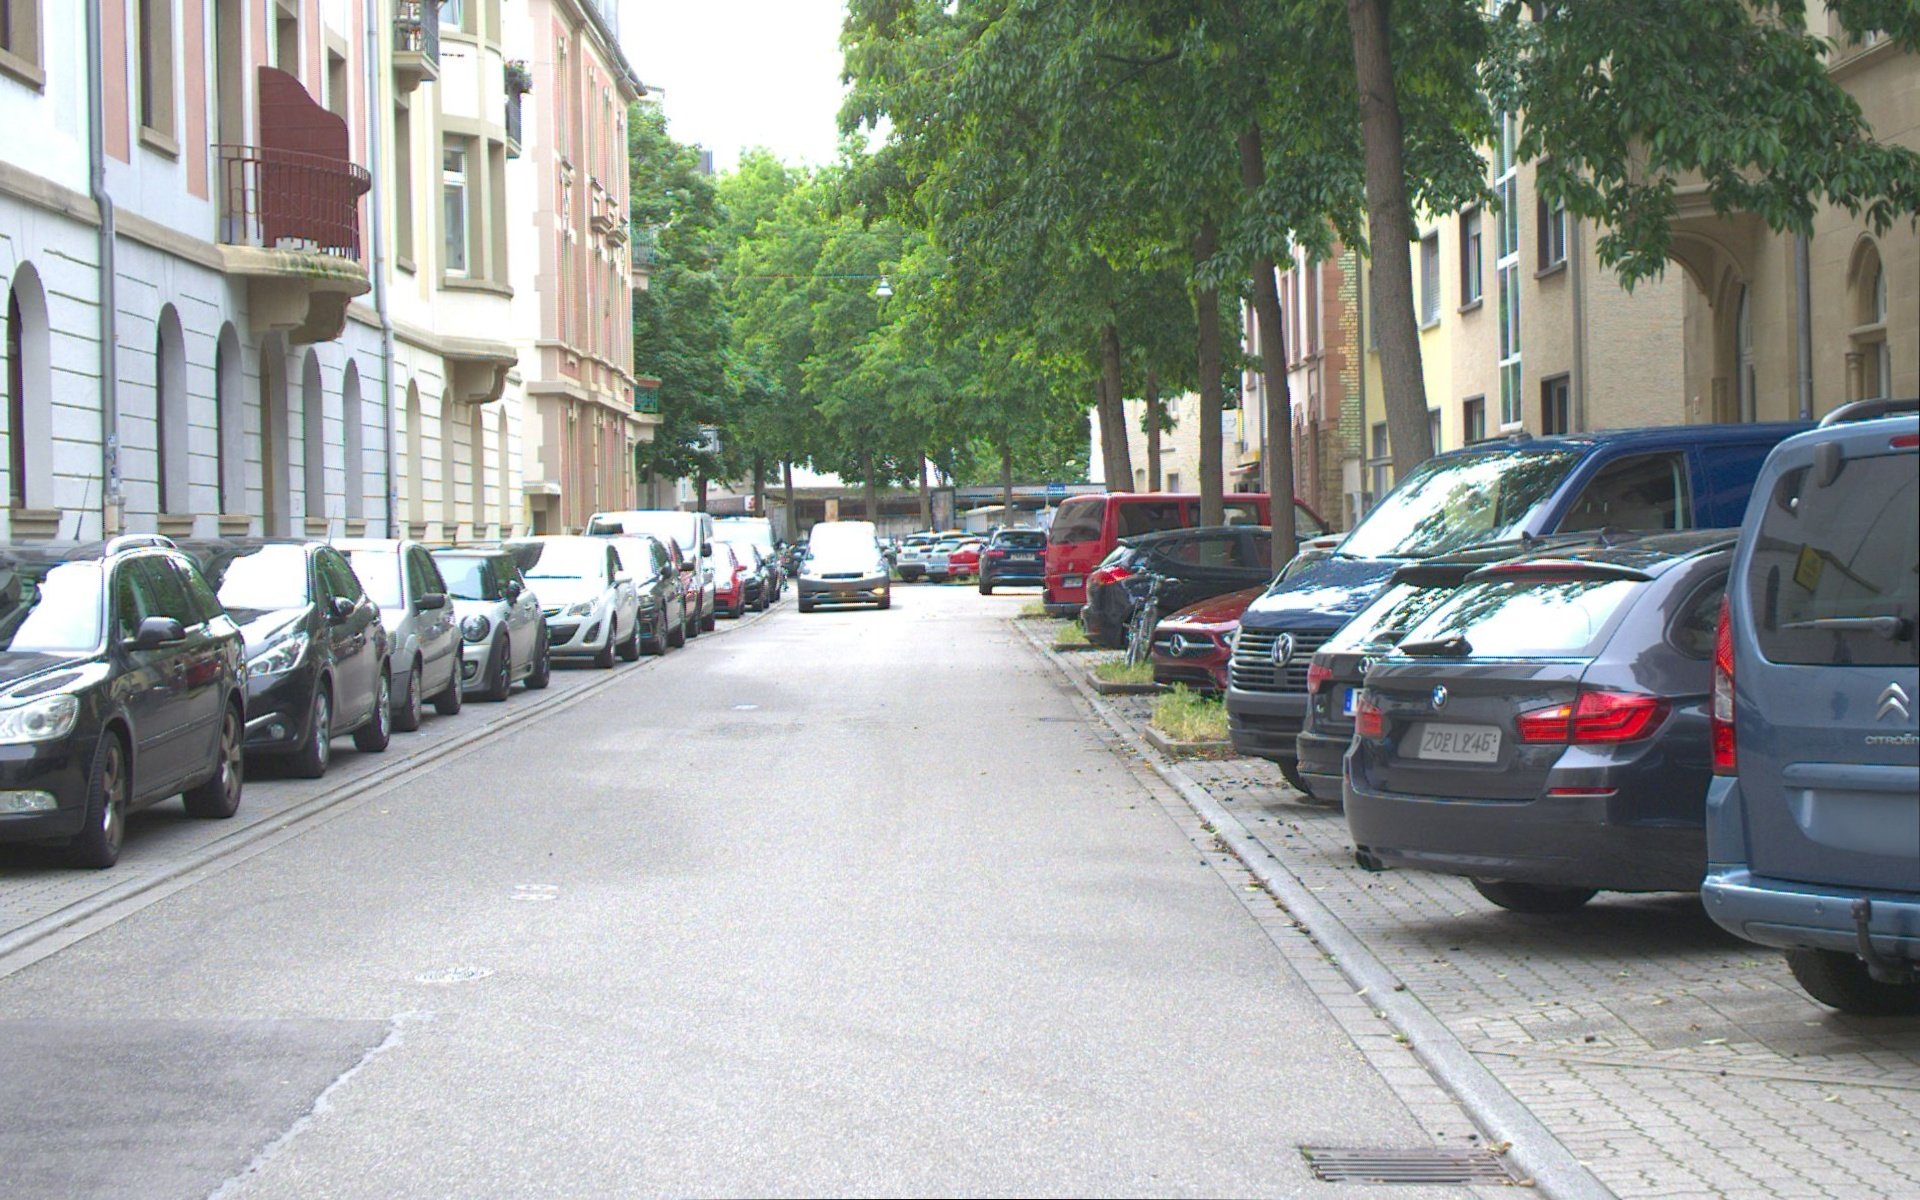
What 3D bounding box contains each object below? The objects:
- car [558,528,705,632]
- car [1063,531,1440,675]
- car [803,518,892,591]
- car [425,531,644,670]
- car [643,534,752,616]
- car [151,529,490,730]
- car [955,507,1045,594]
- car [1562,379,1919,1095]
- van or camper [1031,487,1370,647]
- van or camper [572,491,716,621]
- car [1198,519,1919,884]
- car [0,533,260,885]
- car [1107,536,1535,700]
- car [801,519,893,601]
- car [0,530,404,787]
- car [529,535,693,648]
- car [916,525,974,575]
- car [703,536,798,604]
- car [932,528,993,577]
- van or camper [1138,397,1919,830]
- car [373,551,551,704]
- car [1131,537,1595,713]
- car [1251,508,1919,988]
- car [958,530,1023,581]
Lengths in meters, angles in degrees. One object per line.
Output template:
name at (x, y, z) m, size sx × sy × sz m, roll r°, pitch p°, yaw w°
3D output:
car at (-4.795, -0.324, 50.583) m, size 1.786 × 1.439 × 3.888 m, roll 1°, pitch 1°, yaw 0°
car at (3.099, 0.021, 36.991) m, size 3.760 × 1.460 × 1.729 m, roll 1°, pitch 1°, yaw -5°
car at (-2.686, -1.105, 82.846) m, size 1.908 × 1.672 × 4.000 m, roll 1°, pitch 1°, yaw 1°
car at (-4.786, -0.039, 39.179) m, size 1.993 × 1.470 × 4.000 m, roll 1°, pitch 1°, yaw 0°
car at (-5.184, -0.518, 68.281) m, size 1.786 × 1.450 × 3.888 m, roll -4°, pitch 1°, yaw 0°
car at (-4.942, 0.175, 27.099) m, size 1.947 × 1.398 × 4.000 m, roll 2°, pitch 1°, yaw -1°
car at (0.950, -1.224, 83.529) m, size 1.993 × 2.007 × 4.000 m, roll 2°, pitch 1°, yaw -1°
car at (4.118, 0.250, 10.255) m, size 4.172 × 1.863 × 2.000 m, roll -4°, pitch 1°, yaw -30°
van or camper at (3.272, -0.442, 46.631) m, size 4.146 × 2.078 × 1.953 m, roll 0°, pitch 1°, yaw -28°
van or camper at (-4.999, -0.719, 54.861) m, size 1.881 × 1.961 × 4.408 m, roll 1°, pitch 1°, yaw 0°
car at (3.241, 0.388, 16.138) m, size 3.861 × 1.494 × 1.802 m, roll -2°, pitch 1°, yaw -29°
car at (-4.615, 0.420, 16.417) m, size 1.789 × 1.475 × 4.023 m, roll 0°, pitch 1°, yaw -1°
car at (3.401, 0.157, 32.793) m, size 3.760 × 1.460 × 1.729 m, roll 1°, pitch 1°, yaw -5°
car at (-2.326, -0.849, 71.632) m, size 1.821 × 1.639 × 3.754 m, roll 1°, pitch 1°, yaw -1°
car at (-4.743, 0.301, 21.817) m, size 1.829 × 1.422 × 3.802 m, roll 2°, pitch 1°, yaw -1°
car at (-4.564, -0.138, 45.392) m, size 1.786 × 1.369 × 3.508 m, roll 2°, pitch 1°, yaw 0°
car at (-0.518, -1.694, 116.391) m, size 1.870 × 1.622 × 4.000 m, roll 1°, pitch 1°, yaw -1°
car at (-4.452, -0.662, 73.397) m, size 1.786 × 1.369 × 3.888 m, roll 1°, pitch 1°, yaw 0°
car at (0.064, -1.552, 110.989) m, size 1.870 × 1.525 × 4.000 m, roll 1°, pitch 1°, yaw -1°
van or camper at (3.561, 0.052, 19.025) m, size 4.775 × 2.130 × 2.056 m, roll 0°, pitch 1°, yaw -31°
car at (-4.550, 0.218, 31.696) m, size 1.209 × 1.305 × 3.261 m, roll 1°, pitch 1°, yaw -1°
car at (3.435, 0.190, 29.645) m, size 3.709 × 1.403 × 1.576 m, roll -1°, pitch 1°, yaw -5°
car at (3.302, 0.436, 13.088) m, size 4.010 × 1.554 × 1.885 m, roll -2°, pitch 1°, yaw -31°
car at (0.921, -1.396, 106.259) m, size 1.870 × 1.525 × 3.840 m, roll 1°, pitch 1°, yaw -1°
